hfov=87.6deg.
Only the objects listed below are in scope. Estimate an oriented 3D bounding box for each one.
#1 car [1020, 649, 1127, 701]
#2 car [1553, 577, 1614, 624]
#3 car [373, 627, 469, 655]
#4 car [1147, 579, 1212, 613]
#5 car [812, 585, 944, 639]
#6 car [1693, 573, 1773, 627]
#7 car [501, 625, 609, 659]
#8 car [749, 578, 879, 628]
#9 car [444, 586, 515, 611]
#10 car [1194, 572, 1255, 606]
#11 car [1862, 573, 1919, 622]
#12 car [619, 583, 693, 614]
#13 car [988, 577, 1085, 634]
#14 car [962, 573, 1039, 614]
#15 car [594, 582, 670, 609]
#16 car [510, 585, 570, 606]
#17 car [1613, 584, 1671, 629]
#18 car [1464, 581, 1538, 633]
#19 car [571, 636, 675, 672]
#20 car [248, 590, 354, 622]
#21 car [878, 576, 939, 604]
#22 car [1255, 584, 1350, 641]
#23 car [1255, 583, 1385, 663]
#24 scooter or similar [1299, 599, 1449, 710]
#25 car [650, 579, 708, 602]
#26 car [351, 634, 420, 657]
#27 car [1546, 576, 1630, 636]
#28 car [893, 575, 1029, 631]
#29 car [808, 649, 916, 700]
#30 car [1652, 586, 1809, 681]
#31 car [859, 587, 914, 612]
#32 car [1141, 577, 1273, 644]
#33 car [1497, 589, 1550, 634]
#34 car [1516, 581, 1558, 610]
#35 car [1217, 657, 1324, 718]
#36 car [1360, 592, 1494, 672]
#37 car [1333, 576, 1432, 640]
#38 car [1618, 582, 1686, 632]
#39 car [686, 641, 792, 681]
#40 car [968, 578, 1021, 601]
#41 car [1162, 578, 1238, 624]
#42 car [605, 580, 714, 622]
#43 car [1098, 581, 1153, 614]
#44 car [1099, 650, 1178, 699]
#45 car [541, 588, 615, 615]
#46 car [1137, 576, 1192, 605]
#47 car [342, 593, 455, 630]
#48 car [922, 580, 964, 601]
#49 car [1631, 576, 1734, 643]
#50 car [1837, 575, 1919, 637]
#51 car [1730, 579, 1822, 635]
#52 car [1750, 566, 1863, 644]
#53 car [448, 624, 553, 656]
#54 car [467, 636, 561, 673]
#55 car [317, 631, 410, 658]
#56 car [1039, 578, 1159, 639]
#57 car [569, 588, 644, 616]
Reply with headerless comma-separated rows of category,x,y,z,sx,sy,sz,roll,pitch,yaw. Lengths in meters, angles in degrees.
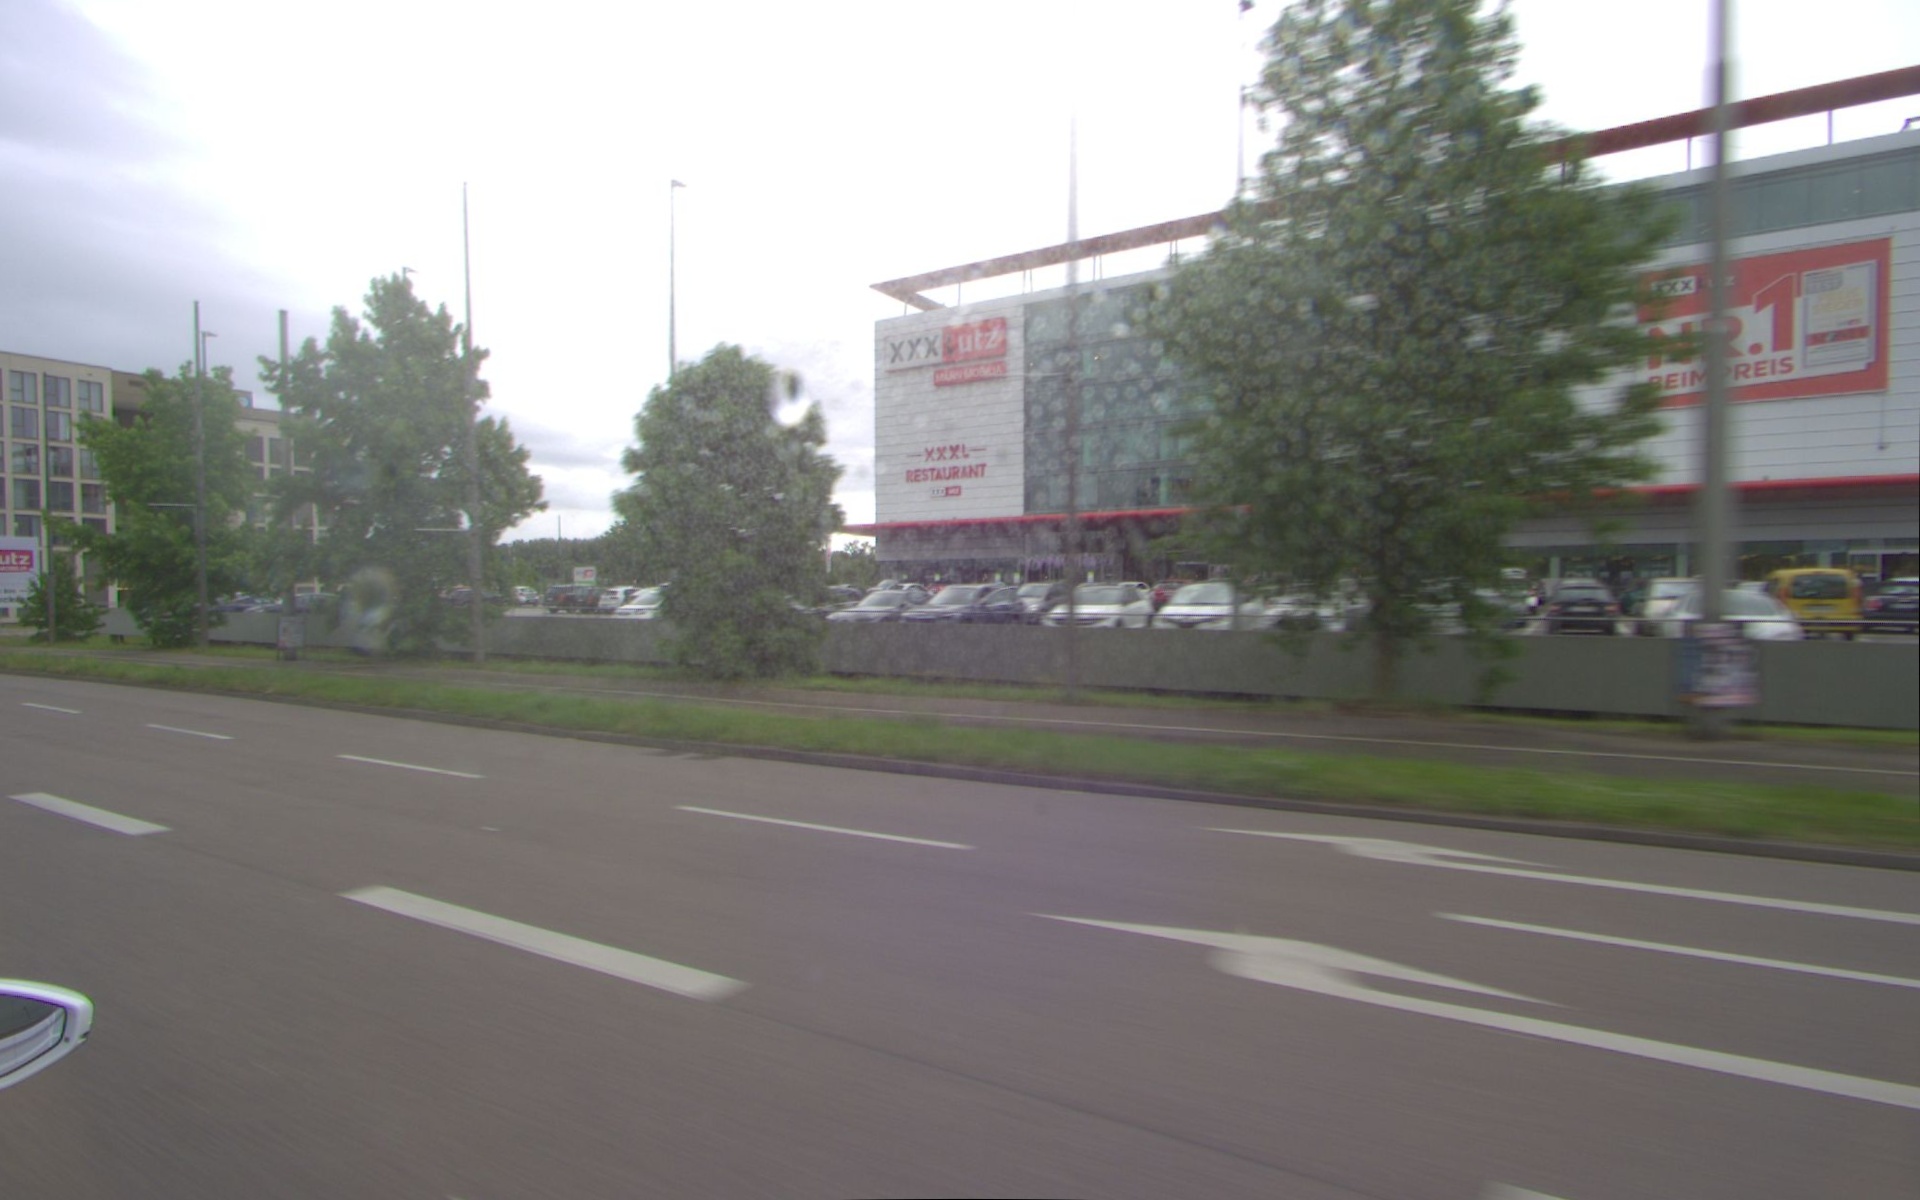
car,3.607,2.298,31.329,1.739,1.368,4.046,0,-1,33
car,25.654,0.045,41.322,1.860,1.846,3.984,-1,-1,28
car,-27.653,2.078,51.492,1.739,1.368,4.045,0,-1,33
car,10.970,-0.197,49.876,1.719,1.575,3.779,2,1,37
car,-2.280,0.319,28.832,1.738,1.418,4.046,2,1,31
car,29.644,0.024,38.515,1.906,1.951,3.981,-1,0,30
car,-14.767,1.504,36.669,1.434,1.146,3.506,0,-1,33
car,-4.349,0.088,30.396,1.738,1.368,4.046,2,1,31
car,-31.217,-0.111,65.094,1.760,1.528,3.830,1,1,36
car,12.976,-0.501,49.000,1.717,1.608,3.556,-1,-1,37
car,33.716,-0.083,35.501,1.808,1.676,3.980,-1,-1,31
car,-16.780,-0.067,55.363,1.679,1.655,3.619,2,1,37
car,2.966,0.223,38.097,1.971,2.040,4.168,0,-1,32
car,1.836,-0.291,44.620,1.709,1.725,3.726,2,1,34
car,-18.750,-0.265,57.374,1.759,1.528,3.831,1,1,35
car,-32.808,-0.346,78.243,1.840,1.598,3.978,0,-1,33
car,30.136,0.319,44.326,1.813,1.894,3.982,0,-1,30
car,18.204,0.244,33.616,1.821,1.647,3.977,-1,-1,34
car,-14.394,2.272,42.925,1.739,1.368,4.044,0,-1,34
car,-31.112,0.283,47.351,1.695,1.403,3.866,2,1,31
car,-3.005,-0.561,59.121,1.679,1.576,3.619,2,1,37
car,10.997,0.386,31.989,1.809,1.685,4.160,0,0,35
car,8.020,0.454,22.081,1.739,1.561,4.043,2,1,34
scooter or similar,5.705,0.729,13.864,1.799,1.440,0.647,-1,0,42
car,-19.826,-0.664,70.752,1.679,1.516,3.619,2,1,37
car,-37.331,2.947,65.137,1.438,1.303,3.610,2,1,35
car,17.433,0.185,27.856,1.861,1.554,3.980,0,-1,32
car,0.112,0.080,27.083,1.783,1.368,4.144,2,1,31
car,-3.442,2.625,35.860,1.738,1.572,4.046,0,-1,32
car,13.976,0.540,18.403,1.933,1.481,4.363,2,1,34
car,-4.846,-0.028,66.531,1.678,1.553,3.620,2,1,36
car,5.819,0.215,23.228,1.808,1.368,4.046,2,1,32
car,24.315,0.494,43.140,1.761,1.844,3.979,0,-1,32
car,31.760,-0.237,55.114,1.804,1.575,3.784,1,0,33
car,8.600,2.328,27.529,1.739,1.368,4.044,0,-1,34
car,9.832,0.591,20.905,1.841,1.438,4.454,2,1,34
car,12.872,0.230,30.387,1.863,1.767,4.300,2,1,35
car,27.283,0.293,39.580,1.813,1.864,3.982,0,-1,29
car,-8.563,2.328,39.128,1.738,1.368,4.048,0,-1,31
car,2.196,-0.652,63.467,1.679,1.394,3.583,2,1,35
car,9.364,0.005,38.797,1.806,1.645,3.980,0,1,30
car,-10.198,0.019,34.225,1.581,1.325,3.511,2,1,28
car,9.588,-0.142,57.847,1.787,1.805,3.976,2,1,30
car,6.959,2.833,38.768,1.757,1.644,3.982,0,-1,30
car,-22.870,0.053,60.023,1.760,1.528,3.830,1,1,36
car,11.475,-0.509,56.057,1.717,1.575,3.784,2,1,33
car,-24.714,0.485,44.209,1.784,1.545,4.063,1,1,29
car,-1.254,-0.675,75.857,1.682,1.518,3.630,2,1,27
car,19.214,0.219,26.801,1.851,1.617,3.980,2,1,31
car,26.371,0.178,28.405,1.762,1.656,3.976,-1,-1,34
car,23.944,0.220,29.510,1.762,1.514,3.976,-1,-1,34
car,21.201,0.098,25.213,1.709,1.792,3.727,2,1,34
car,-17.913,1.530,39.144,1.494,1.146,3.506,0,-1,33
car,-24.563,2.955,55.288,1.973,1.856,4.356,0,-1,34
car,-32.844,2.427,55.236,1.739,1.368,4.046,0,-1,32
car,3.589,0.191,25.228,1.736,1.368,4.051,2,1,27
car,-20.676,0.095,58.660,1.760,1.528,3.830,1,1,36
